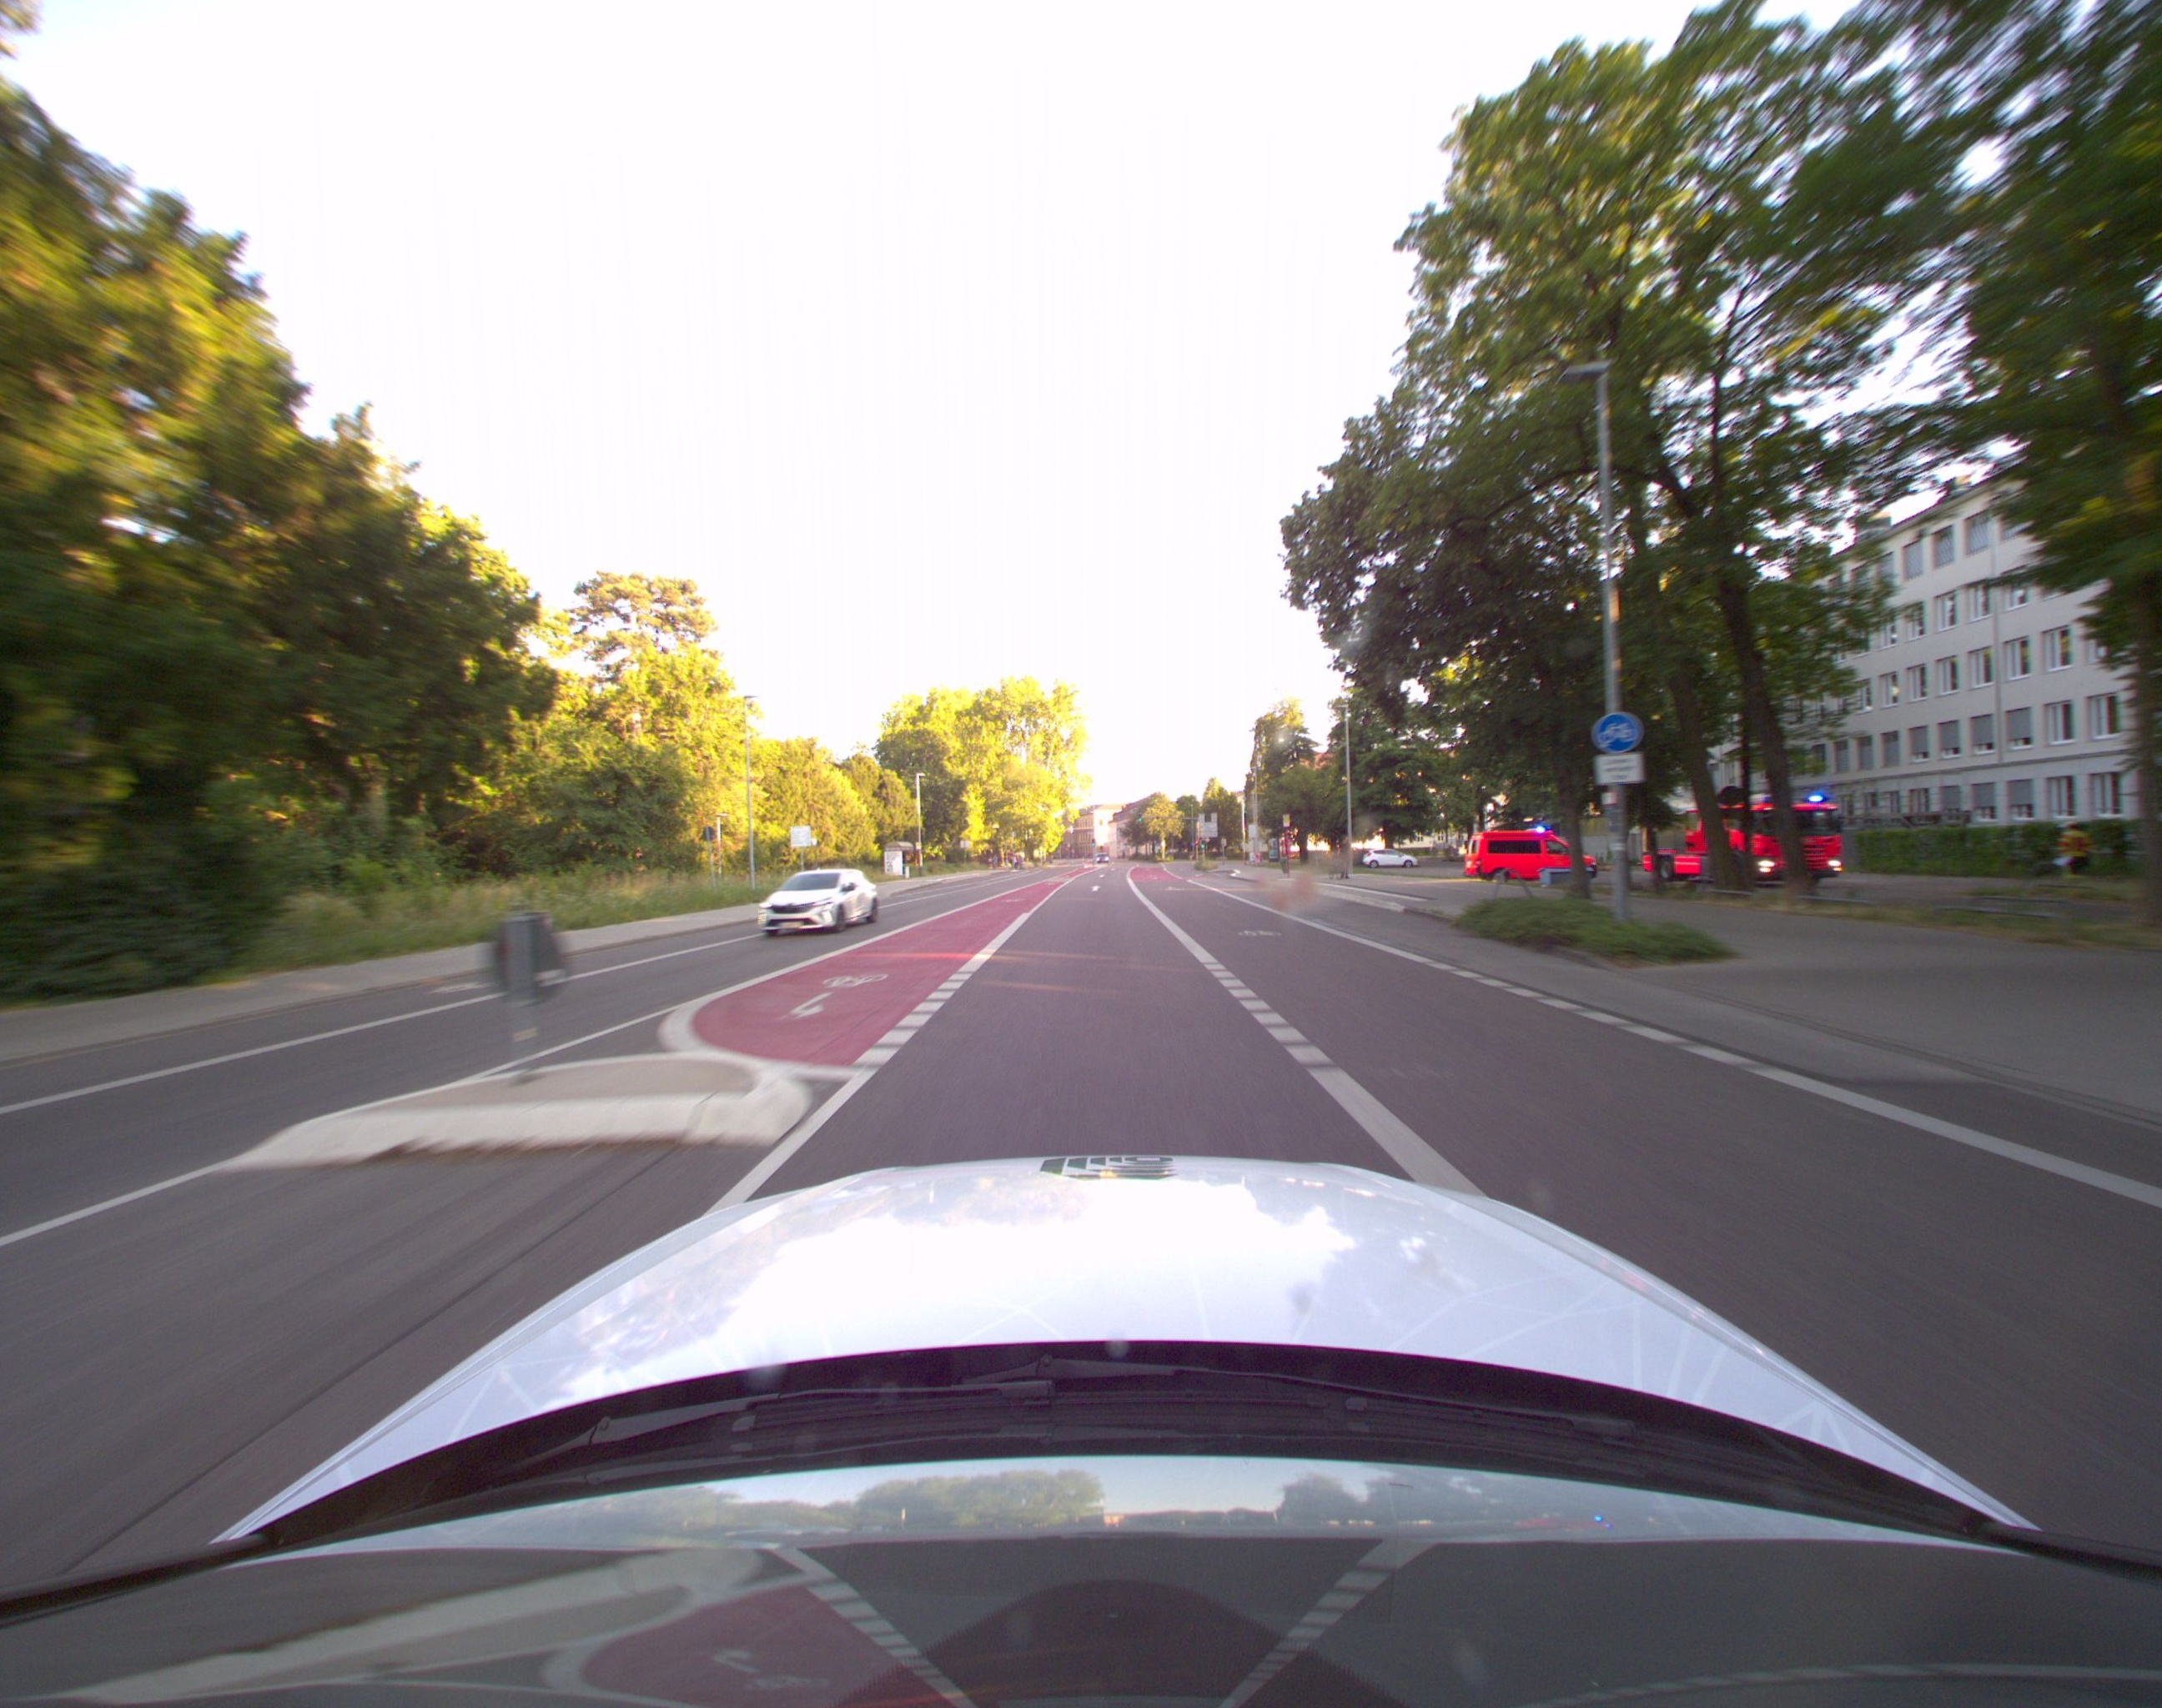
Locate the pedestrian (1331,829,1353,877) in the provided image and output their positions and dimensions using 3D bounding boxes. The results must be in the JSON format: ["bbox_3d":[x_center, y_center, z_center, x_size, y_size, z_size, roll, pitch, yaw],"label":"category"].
[{"bbox_3d":[11.263,-0.043,35.159,0.720,2.014,0.695,-1,0,1],"label":"pedestrian"}]

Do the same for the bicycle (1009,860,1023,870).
[{"bbox_3d":[-7.599,1.254,94.832,1.548,1.111,0.637,-2,0,35],"label":"bicycle"}]

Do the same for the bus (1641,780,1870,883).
[{"bbox_3d":[23.840,-0.705,29.501,2.968,3.196,7.990,-1,0,12],"label":"bus"}]

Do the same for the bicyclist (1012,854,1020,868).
[{"bbox_3d":[-7.553,0.848,94.802,0.631,1.649,0.634,-2,0,35],"label":"bicyclist"}]

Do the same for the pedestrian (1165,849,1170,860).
[{"bbox_3d":[15.439,0.114,145.091,0.866,2.014,0.723,-1,0,4],"label":"pedestrian"}]

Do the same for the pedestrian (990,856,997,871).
[{"bbox_3d":[-11.912,1.316,110.879,0.653,2.014,0.600,0,0,-34],"label":"pedestrian"}]

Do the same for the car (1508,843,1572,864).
[{"bbox_3d":[34.754,-0.036,61.799,3.954,1.551,1.967,-1,0,18],"label":"car"}]

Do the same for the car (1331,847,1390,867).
[{"bbox_3d":[24.313,0.259,71.044,4.545,1.449,1.904,-3,-2,7],"label":"car"}]

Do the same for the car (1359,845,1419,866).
[{"bbox_3d":[23.255,0.139,61.607,3.965,1.537,1.916,-1,0,8],"label":"car"}]

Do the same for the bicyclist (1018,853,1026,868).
[{"bbox_3d":[-7.005,0.762,96.246,0.631,1.780,0.580,-2,0,35],"label":"bicyclist"}]

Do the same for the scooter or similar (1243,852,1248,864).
[{"bbox_3d":[16.784,0.438,83.225,0.309,1.231,1.312,-2,0,5],"label":"scooter or similar"}]

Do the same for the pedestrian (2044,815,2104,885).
[{"bbox_3d":[28.877,-0.117,23.694,0.758,2.014,0.784,-1,0,1],"label":"pedestrian"}]

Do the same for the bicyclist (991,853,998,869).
[{"bbox_3d":[-10.501,0.846,99.027,0.731,1.824,0.713,-2,-1,5],"label":"bicyclist"}]

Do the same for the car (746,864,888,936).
[{"bbox_3d":[-6.156,1.004,19.526,1.839,1.414,4.182,-3,0,2],"label":"car"}]

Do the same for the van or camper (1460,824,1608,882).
[{"bbox_3d":[18.173,-0.030,32.958,4.780,2.244,2.303,-1,0,12],"label":"van or camper"}]

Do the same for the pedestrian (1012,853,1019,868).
[{"bbox_3d":[-7.438,0.691,92.391,0.604,1.695,0.499,-2,0,6],"label":"pedestrian"}]

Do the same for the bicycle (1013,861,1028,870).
[{"bbox_3d":[-7.198,1.355,96.404,1.749,1.030,0.583,-2,0,35],"label":"bicycle"}]

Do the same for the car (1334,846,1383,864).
[{"bbox_3d":[25.228,0.105,74.204,3.961,1.561,1.791,-2,0,11],"label":"car"}]

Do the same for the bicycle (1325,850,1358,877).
[{"bbox_3d":[11.294,0.409,35.362,0.827,1.097,1.969,-3,0,2],"label":"bicycle"}]

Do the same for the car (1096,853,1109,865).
[{"bbox_3d":[3.522,0.819,133.549,1.842,1.720,4.298,-4,0,3],"label":"car"}]
